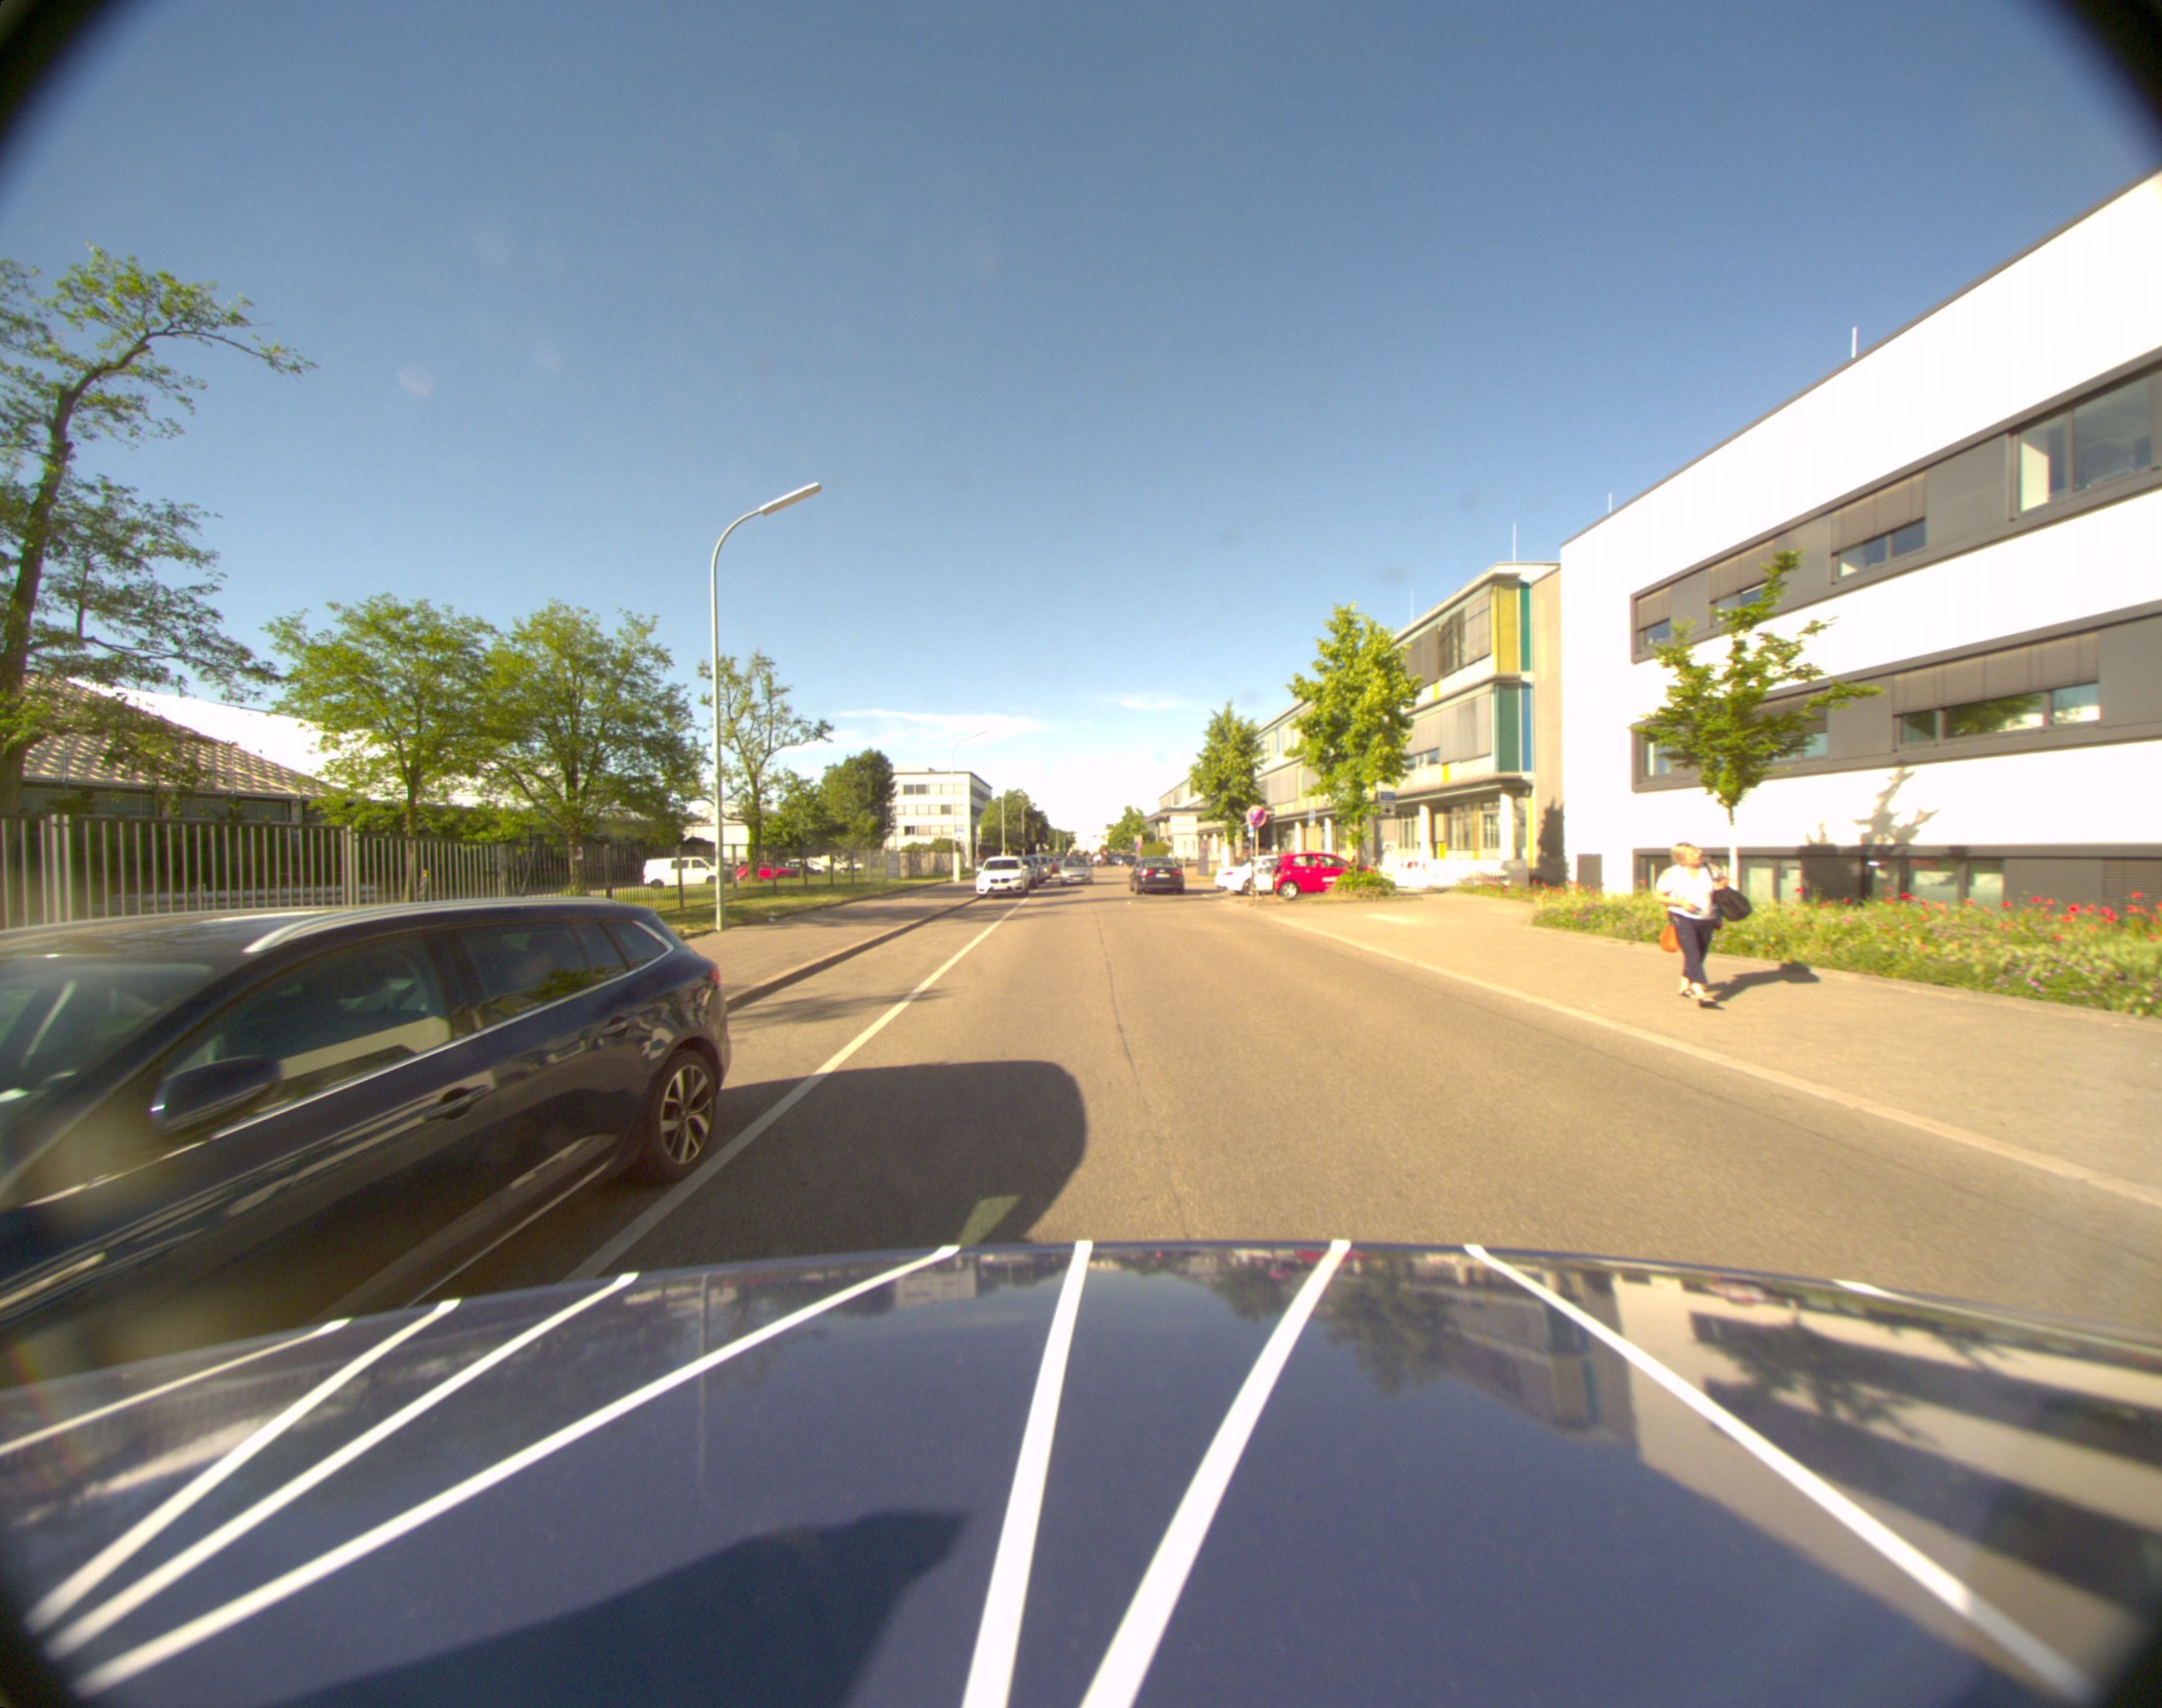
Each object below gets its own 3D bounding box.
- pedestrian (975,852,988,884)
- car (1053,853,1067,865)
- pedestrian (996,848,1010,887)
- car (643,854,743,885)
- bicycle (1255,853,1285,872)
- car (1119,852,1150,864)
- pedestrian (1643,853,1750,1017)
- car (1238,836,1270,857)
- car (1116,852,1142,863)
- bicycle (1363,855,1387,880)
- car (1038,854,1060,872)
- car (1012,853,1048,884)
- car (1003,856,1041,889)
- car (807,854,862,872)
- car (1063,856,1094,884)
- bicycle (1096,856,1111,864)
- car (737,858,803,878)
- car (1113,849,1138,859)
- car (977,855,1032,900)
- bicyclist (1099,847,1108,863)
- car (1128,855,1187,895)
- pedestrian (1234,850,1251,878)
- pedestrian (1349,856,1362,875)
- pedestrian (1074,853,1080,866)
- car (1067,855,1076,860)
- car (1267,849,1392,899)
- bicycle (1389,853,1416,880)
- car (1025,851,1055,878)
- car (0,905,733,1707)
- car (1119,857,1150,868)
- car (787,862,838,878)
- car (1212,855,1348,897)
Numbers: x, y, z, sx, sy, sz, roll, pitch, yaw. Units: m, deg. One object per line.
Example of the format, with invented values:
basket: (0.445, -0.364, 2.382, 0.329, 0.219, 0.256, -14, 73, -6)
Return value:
pedestrian: (-5.066, 0.707, 38.620, 0.540, 1.602, 0.683, -3, 1, -3)
car: (-2.805, 0.658, 102.770, 1.668, 1.505, 4.114, -3, 0, 1)
pedestrian: (-3.531, 0.607, 34.330, 0.522, 1.699, 0.522, -3, 1, -1)
car: (-23.976, 0.945, 47.109, 4.979, 1.635, 2.095, -3, 1, -3)
bicycle: (11.578, 0.514, 46.550, 1.706, 1.115, 0.536, -1, 1, 5)
car: (7.685, 0.578, 108.726, 4.232, 1.642, 1.960, -1, 1, -2)
pedestrian: (5.950, 0.759, 7.374, 0.539, 1.515, 0.607, -1, 1, 1)
car: (16.206, -0.644, 71.354, 1.924, 1.880, 4.711, -1, 0, 0)
car: (7.614, 0.542, 121.626, 3.991, 1.480, 1.823, -3, 1, -2)
bicycle: (13.078, 0.588, 33.799, 0.535, 1.105, 1.862, -1, 0, 7)
car: (-2.876, 0.774, 69.467, 1.814, 1.501, 4.721, -3, 0, -1)
car: (-2.874, 0.789, 43.812, 1.705, 1.597, 4.352, -3, 0, 0)
car: (-2.897, 0.885, 38.056, 1.705, 1.479, 3.979, -3, 0, -3)
car: (-23.705, 0.855, 73.225, 4.642, 1.658, 1.999, -1, 0, -5)
car: (-0.139, 0.806, 40.255, 1.551, 1.389, 3.453, -1, 0, 0)
bicycle: (2.982, 0.789, 99.305, 1.884, 1.003, 0.701, -1, 1, -4)
car: (-23.276, 1.062, 57.020, 4.154, 1.245, 1.828, -3, 1, -3)
car: (7.573, -0.060, 128.737, 4.102, 1.414, 1.823, -3, 1, -2)
car: (-2.960, 0.865, 30.321, 1.818, 1.579, 4.261, -3, 0, -2)
bicyclist: (2.914, 0.141, 99.301, 1.052, 2.002, 0.959, -2, 1, -5)
car: (2.974, 0.775, 30.389, 1.766, 1.433, 4.536, -1, 0, -1)
pedestrian: (9.255, 0.548, 43.589, 0.774, 1.540, 0.780, -3, 1, 0)
pedestrian: (16.682, 0.693, 46.182, 0.533, 1.166, 0.556, -1, 1, 1)
pedestrian: (-0.512, 0.685, 97.202, 0.693, 1.718, 0.775, 0, 1, -1)
car: (-2.315, 0.864, 188.206, 1.999, 1.382, 3.998, 0, 0, -5)
car: (8.152, 0.637, 25.193, 3.642, 1.460, 1.615, -2, 0, 7)
bicycle: (13.823, 0.511, 32.709, 0.421, 1.117, 1.764, -1, 0, 1)
car: (-2.808, 0.722, 53.089, 1.814, 1.712, 4.703, -3, 0, -1)
car: (-2.889, 1.019, 2.106, 1.822, 1.444, 4.214, -1, 0, 1)
car: (7.443, 1.161, 106.431, 4.142, 1.458, 1.753, -2, 0, -1)
car: (-24.064, 1.435, 68.160, 3.899, 1.371, 1.675, -1, 0, -3)
car: (7.170, 0.776, 27.703, 4.522, 1.359, 1.700, -2, 1, 3)
